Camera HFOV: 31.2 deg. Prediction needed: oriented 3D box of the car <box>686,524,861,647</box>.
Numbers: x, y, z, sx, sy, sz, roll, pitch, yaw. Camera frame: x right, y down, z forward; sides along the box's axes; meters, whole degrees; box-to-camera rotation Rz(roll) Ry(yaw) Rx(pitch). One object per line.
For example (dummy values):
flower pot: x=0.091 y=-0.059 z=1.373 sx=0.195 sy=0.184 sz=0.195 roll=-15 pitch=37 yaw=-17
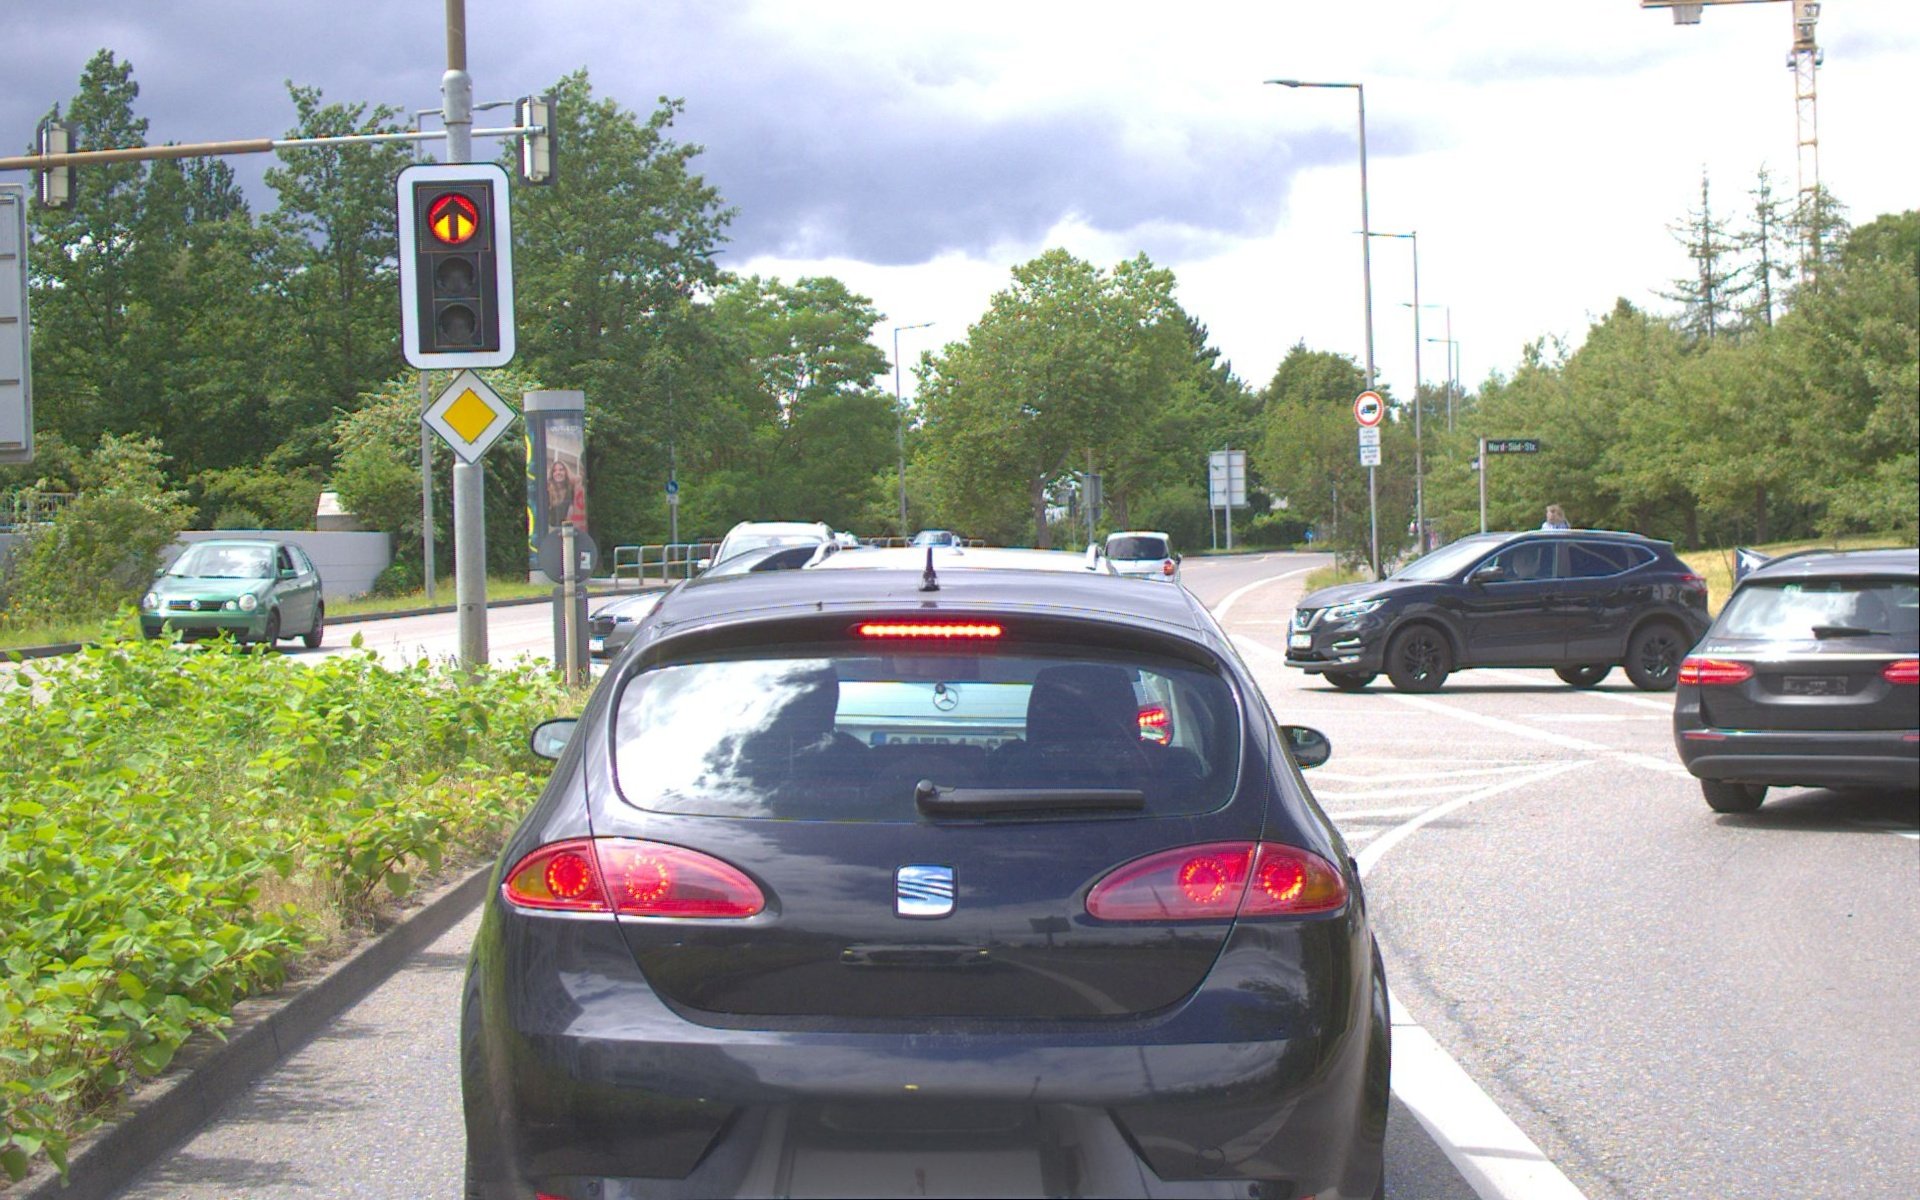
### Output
car: x=-2.502 y=-0.234 z=47.113 sx=1.994 sy=1.590 sz=4.000 roll=0 pitch=1 yaw=3

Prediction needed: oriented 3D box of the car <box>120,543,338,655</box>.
car: x=-9.398 y=-0.042 z=44.493 sx=1.993 sy=1.347 sz=4.000 roll=0 pitch=1 yaw=-1

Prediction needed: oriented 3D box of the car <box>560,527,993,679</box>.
car: x=-2.012 y=0.007 z=37.424 sx=4.303 sy=1.520 sz=2.001 roll=-1 pitch=1 yaw=-19

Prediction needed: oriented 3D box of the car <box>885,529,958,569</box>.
car: x=-1.309 y=-1.766 z=119.215 sx=1.994 sy=1.347 sz=3.999 roll=0 pitch=1 yaw=8

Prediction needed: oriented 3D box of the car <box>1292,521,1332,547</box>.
car: x=18.715 y=-3.496 z=182.548 sx=1.994 sy=1.347 sz=3.999 roll=0 pitch=1 yaw=8

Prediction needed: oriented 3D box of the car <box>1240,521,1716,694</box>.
car: x=5.224 y=0.050 z=34.828 sx=4.303 sy=1.610 sz=2.001 roll=-1 pitch=1 yaw=-16

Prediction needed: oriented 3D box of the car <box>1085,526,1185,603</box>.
car: x=3.594 y=-0.760 z=71.074 sx=1.994 sy=1.525 sz=4.000 roll=0 pitch=1 yaw=2

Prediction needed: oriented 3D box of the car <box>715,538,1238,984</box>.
car: x=-0.026 y=0.522 z=13.675 sx=1.773 sy=1.486 sz=3.583 roll=-2 pitch=1 yaw=-3

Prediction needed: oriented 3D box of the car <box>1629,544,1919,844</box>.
car: x=5.695 y=0.427 z=19.753 sx=1.876 sy=1.436 sz=5.191 roll=-1 pitch=1 yaw=32

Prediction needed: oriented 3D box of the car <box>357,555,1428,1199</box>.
car: x=-0.134 y=0.645 z=7.498 sx=1.773 sy=1.447 sz=3.582 roll=0 pitch=1 yaw=-1

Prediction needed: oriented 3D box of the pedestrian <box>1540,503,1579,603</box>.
pedestrian: x=10.309 y=-0.808 z=59.116 sx=0.559 sy=1.720 sz=0.588 roll=0 pitch=1 yaw=1
